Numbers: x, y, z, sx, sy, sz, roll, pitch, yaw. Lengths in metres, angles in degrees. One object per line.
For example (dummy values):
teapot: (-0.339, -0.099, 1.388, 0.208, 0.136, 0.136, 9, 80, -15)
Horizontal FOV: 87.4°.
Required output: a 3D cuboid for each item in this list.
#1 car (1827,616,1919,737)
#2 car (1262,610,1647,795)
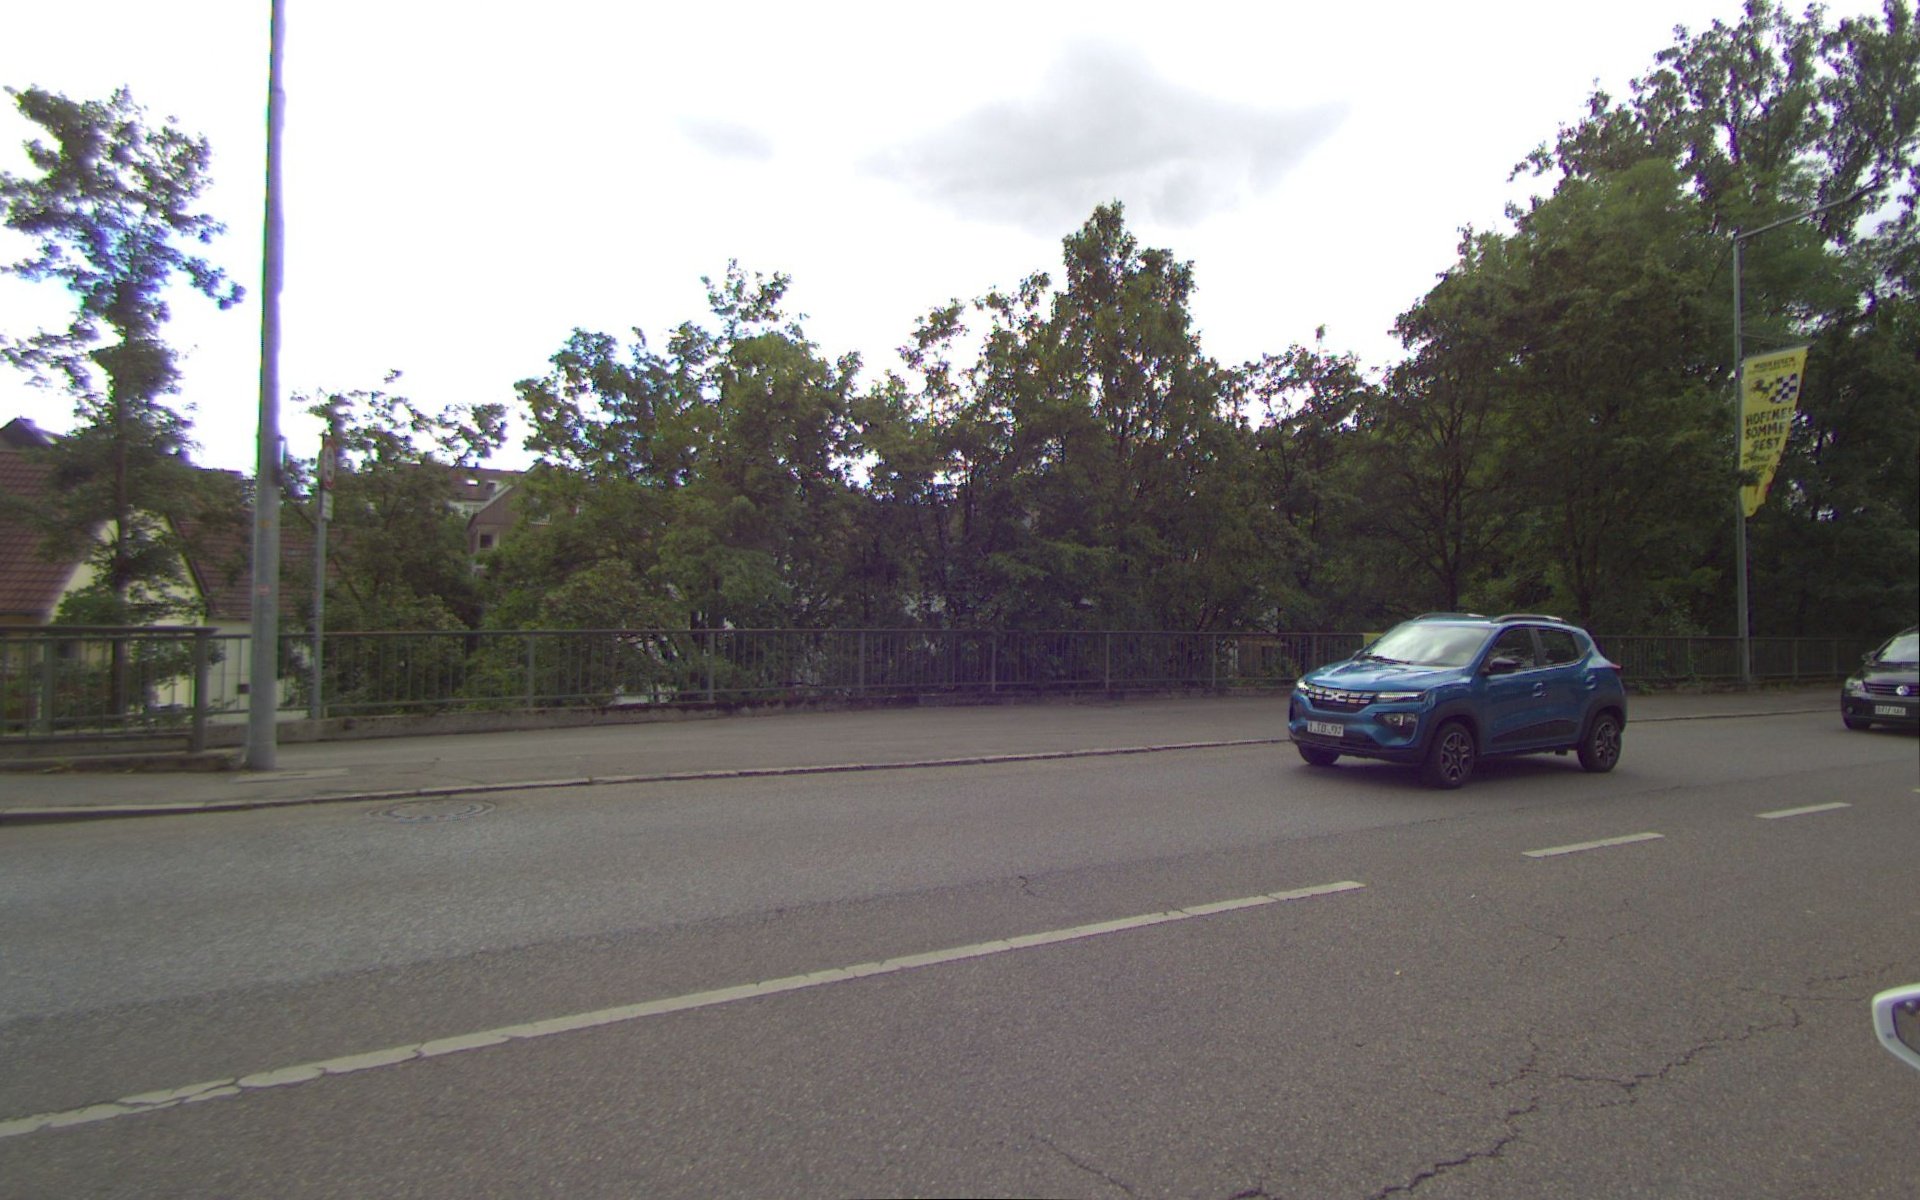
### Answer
car: (14.626, 1.092, 14.752, 3.968, 1.628, 1.711, 2, -1, -31)
car: (4.873, 0.893, 9.817, 3.650, 1.505, 1.574, 2, -1, -29)
